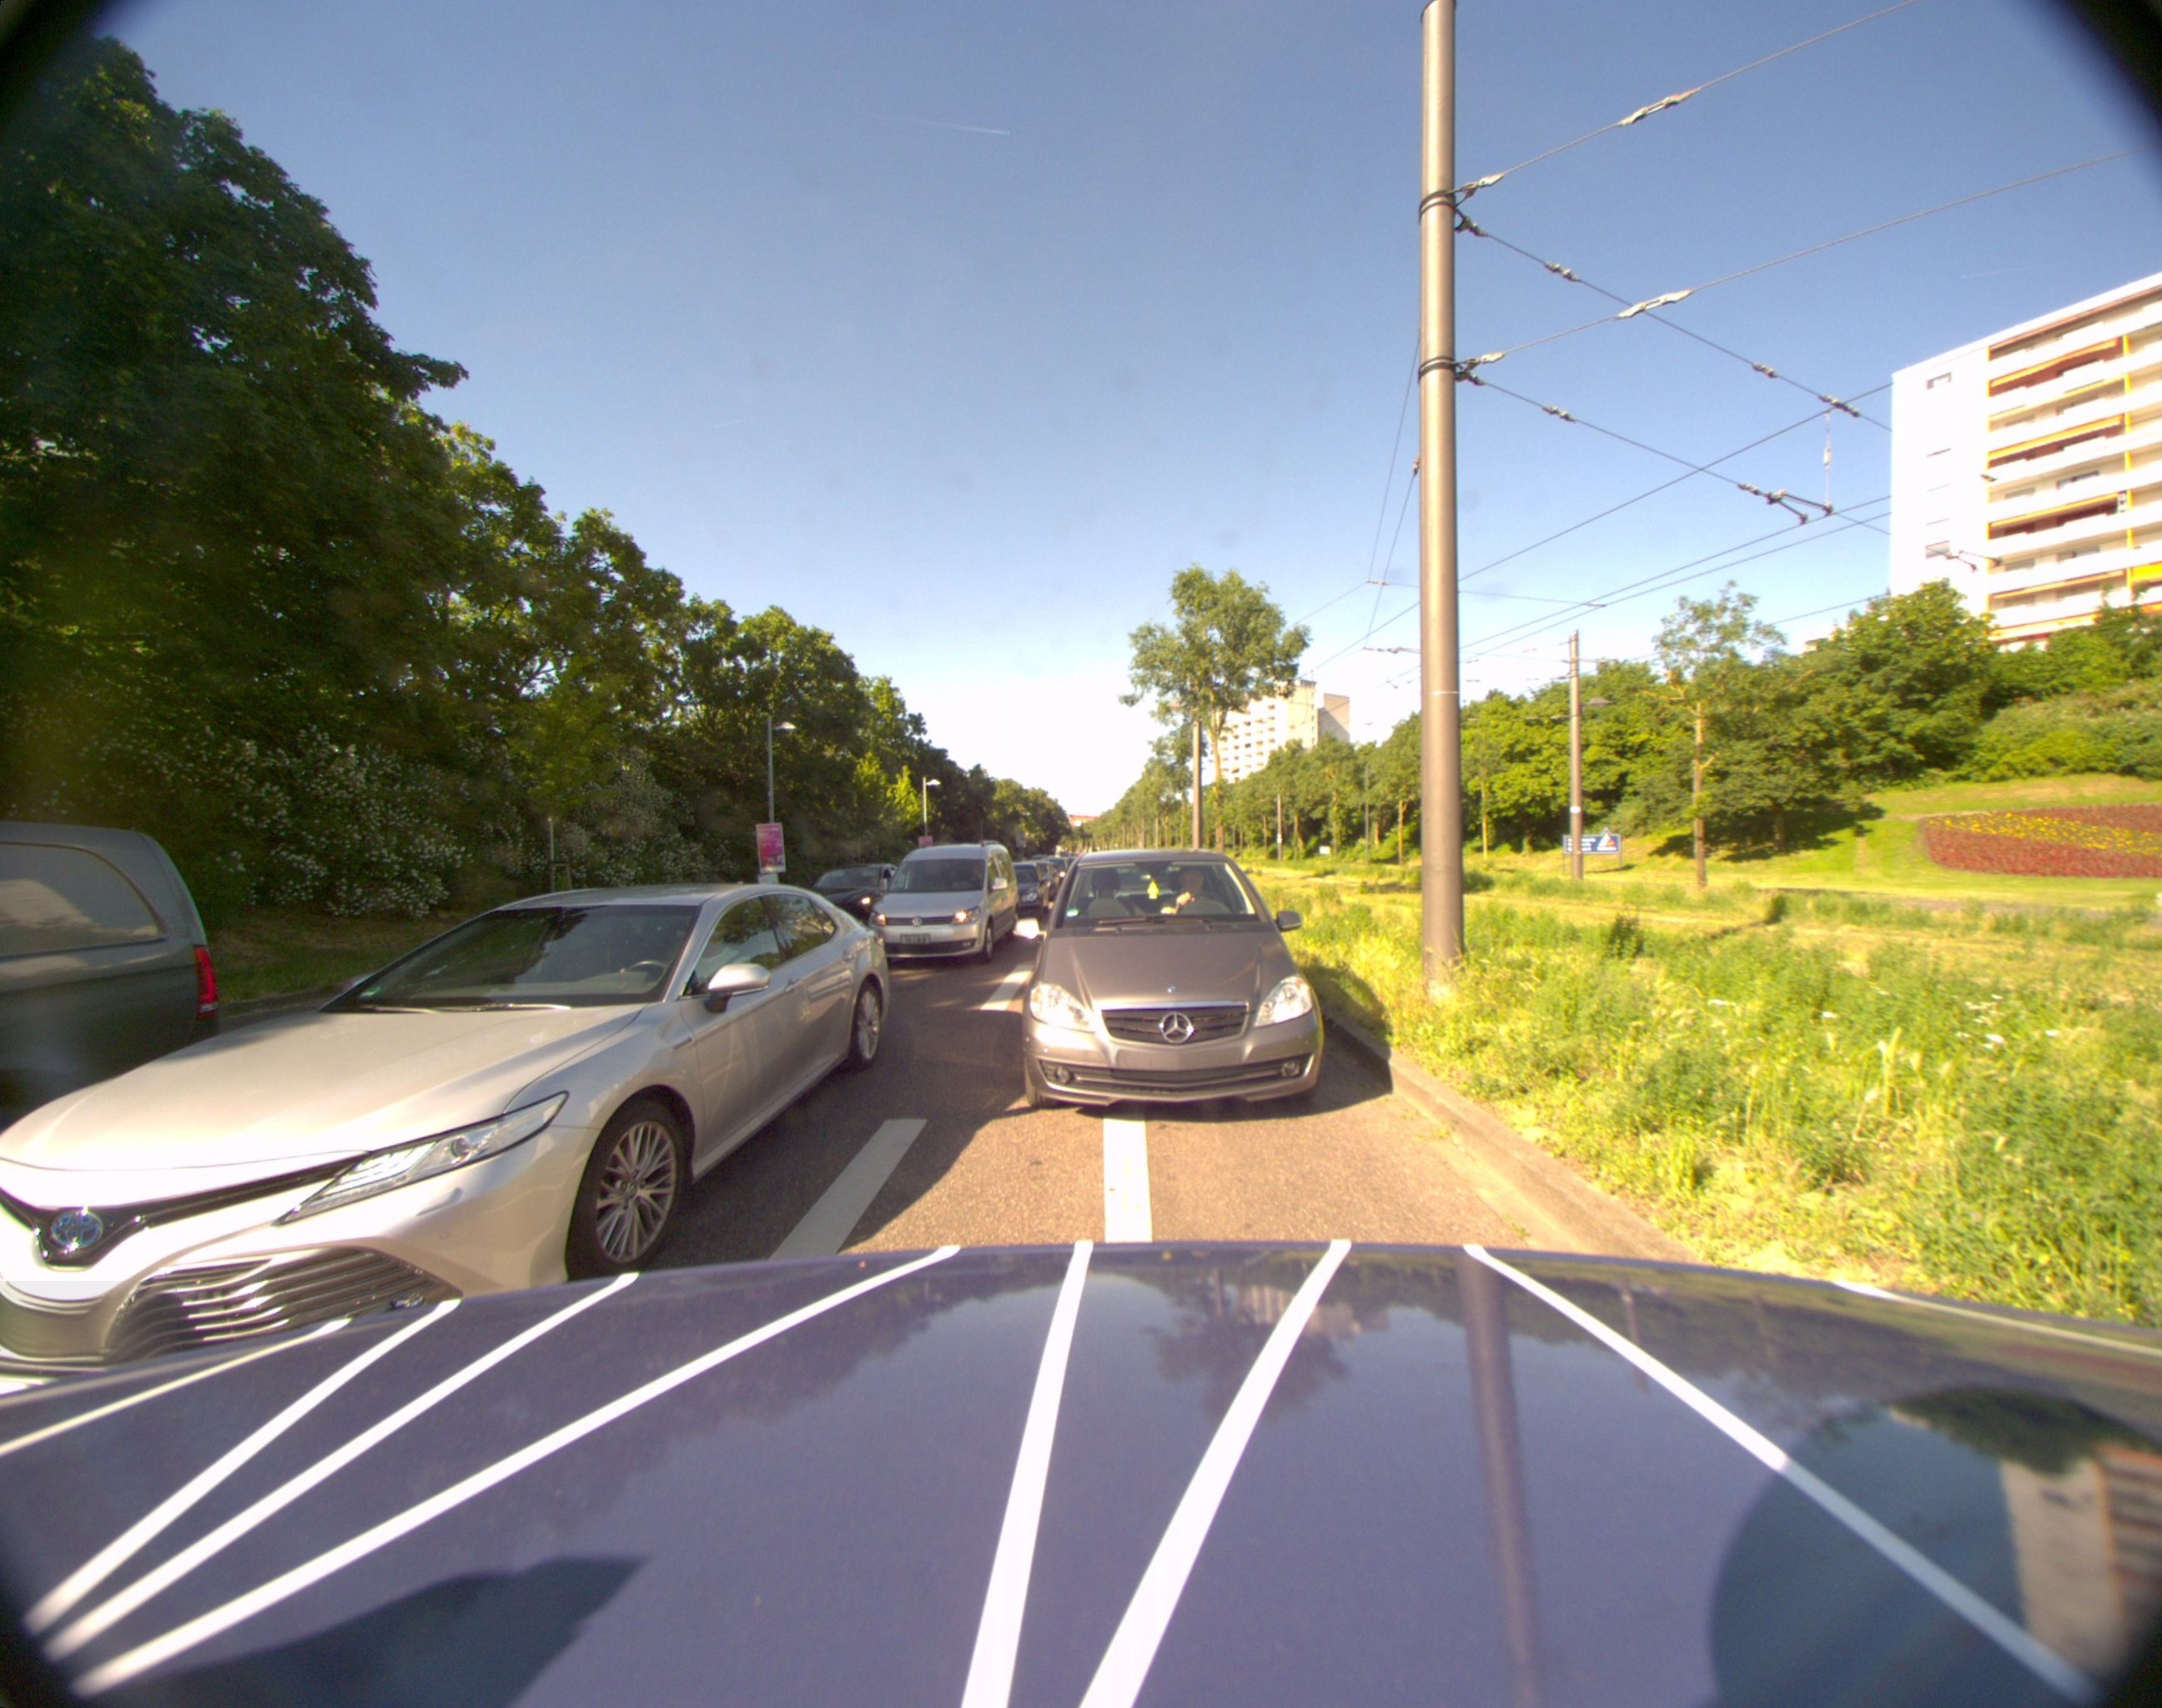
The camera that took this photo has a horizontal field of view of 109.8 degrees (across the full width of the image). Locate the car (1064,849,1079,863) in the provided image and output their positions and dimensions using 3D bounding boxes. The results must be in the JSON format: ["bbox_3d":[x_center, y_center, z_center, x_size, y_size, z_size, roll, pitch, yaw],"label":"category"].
[{"bbox_3d":[-1.274,0.244,103.936,1.844,1.679,3.999,-2,1,1],"label":"car"}]

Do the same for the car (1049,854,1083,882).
[{"bbox_3d":[-0.773,0.757,42.395,1.713,1.430,4.171,-2,0,1],"label":"car"}]

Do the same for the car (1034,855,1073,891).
[{"bbox_3d":[-1.233,0.847,35.539,1.621,1.485,3.452,-2,1,0],"label":"car"}]

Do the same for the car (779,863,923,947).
[{"bbox_3d":[-4.983,1.029,17.111,1.772,1.499,4.225,-2,1,2],"label":"car"}]

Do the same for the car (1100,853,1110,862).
[{"bbox_3d":[4.283,0.605,134.980,1.749,1.652,4.000,-1,0,1],"label":"car"}]

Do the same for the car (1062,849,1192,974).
[{"bbox_3d":[0.666,0.789,12.553,1.749,1.652,3.999,-2,1,1],"label":"car"}]

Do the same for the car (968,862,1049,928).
[{"bbox_3d":[-1.749,0.972,19.557,1.717,1.445,4.197,-1,0,-1],"label":"car"}]

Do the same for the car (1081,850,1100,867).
[{"bbox_3d":[0.922,0.422,73.593,1.685,1.437,3.727,-2,1,2],"label":"car"}]

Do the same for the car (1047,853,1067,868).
[{"bbox_3d":[-2.445,0.636,78.713,1.749,1.427,4.386,-2,1,2],"label":"car"}]

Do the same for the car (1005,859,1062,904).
[{"bbox_3d":[-1.634,0.943,27.347,1.723,1.411,4.050,-1,0,1],"label":"car"}]

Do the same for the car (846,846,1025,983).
[{"bbox_3d":[-2.156,0.807,12.619,1.808,1.811,4.587,-2,1,3],"label":"car"}]

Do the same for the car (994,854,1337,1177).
[{"bbox_3d":[0.473,0.859,6.009,1.749,1.630,4.000,-2,0,1],"label":"car"}]

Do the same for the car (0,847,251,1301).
[{"bbox_3d":[-5.366,0.905,1.447,1.808,1.841,5.103,0,0,3],"label":"car"}]

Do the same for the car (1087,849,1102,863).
[{"bbox_3d":[1.569,0.217,88.513,1.685,1.437,3.727,-2,1,2],"label":"car"}]

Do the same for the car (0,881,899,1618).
[{"bbox_3d":[-2.545,1.009,4.077,1.809,1.484,4.682,-2,0,2],"label":"car"}]
